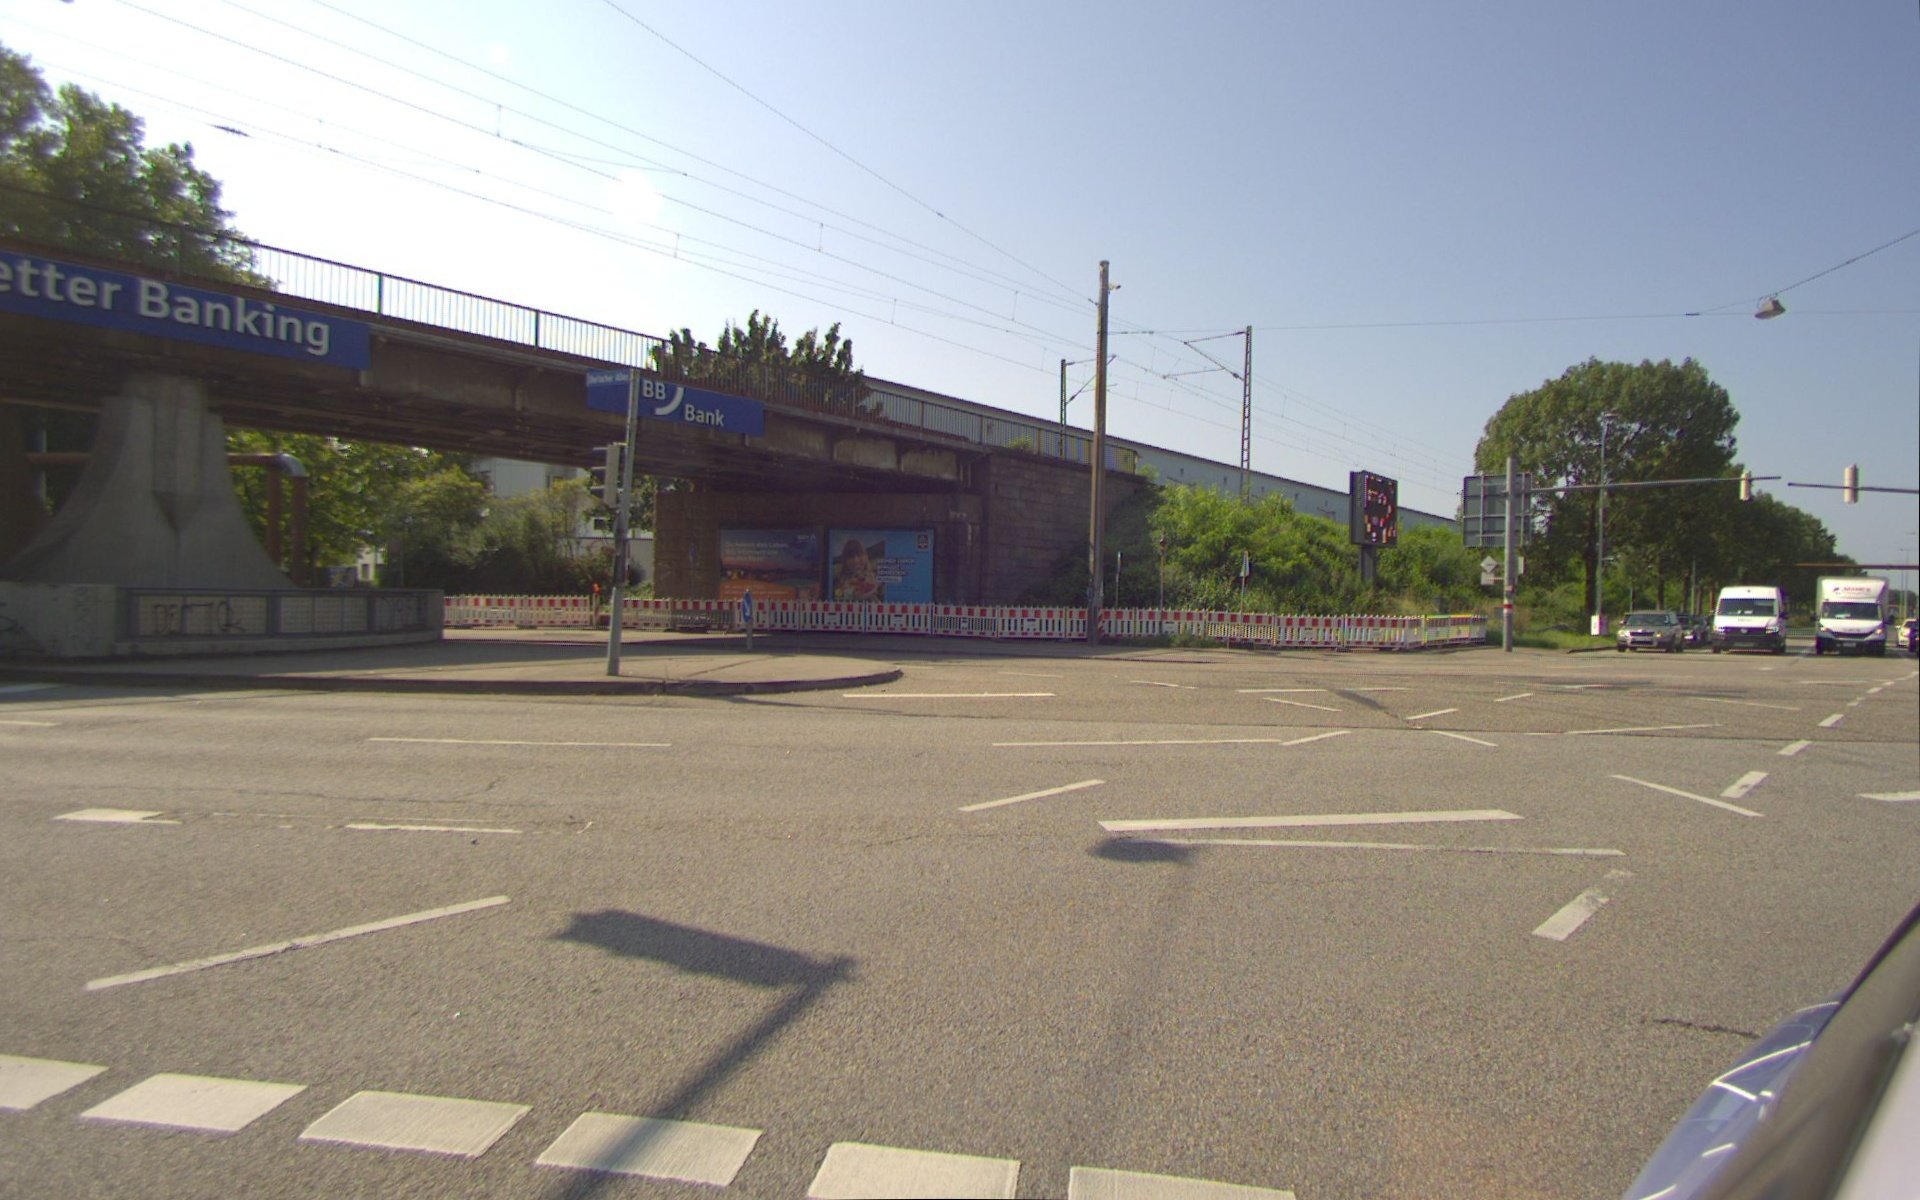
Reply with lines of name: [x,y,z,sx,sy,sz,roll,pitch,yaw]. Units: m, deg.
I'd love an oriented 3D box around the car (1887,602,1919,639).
car: [47.148,1.050,50.053,3.691,1.686,1.653,4,-3,-43]

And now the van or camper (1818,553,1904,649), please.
van or camper: [35.776,0.167,40.087,2.242,3.406,6.739,-1,-4,44]

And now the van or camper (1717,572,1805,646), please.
van or camper: [30.770,0.441,38.781,2.240,2.515,6.759,-1,-3,42]

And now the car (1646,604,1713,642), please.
car: [30.900,0.964,43.424,1.991,1.572,3.941,-1,-1,40]

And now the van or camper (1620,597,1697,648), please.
van or camper: [26.672,0.899,38.605,1.845,1.800,4.109,-1,-3,43]
